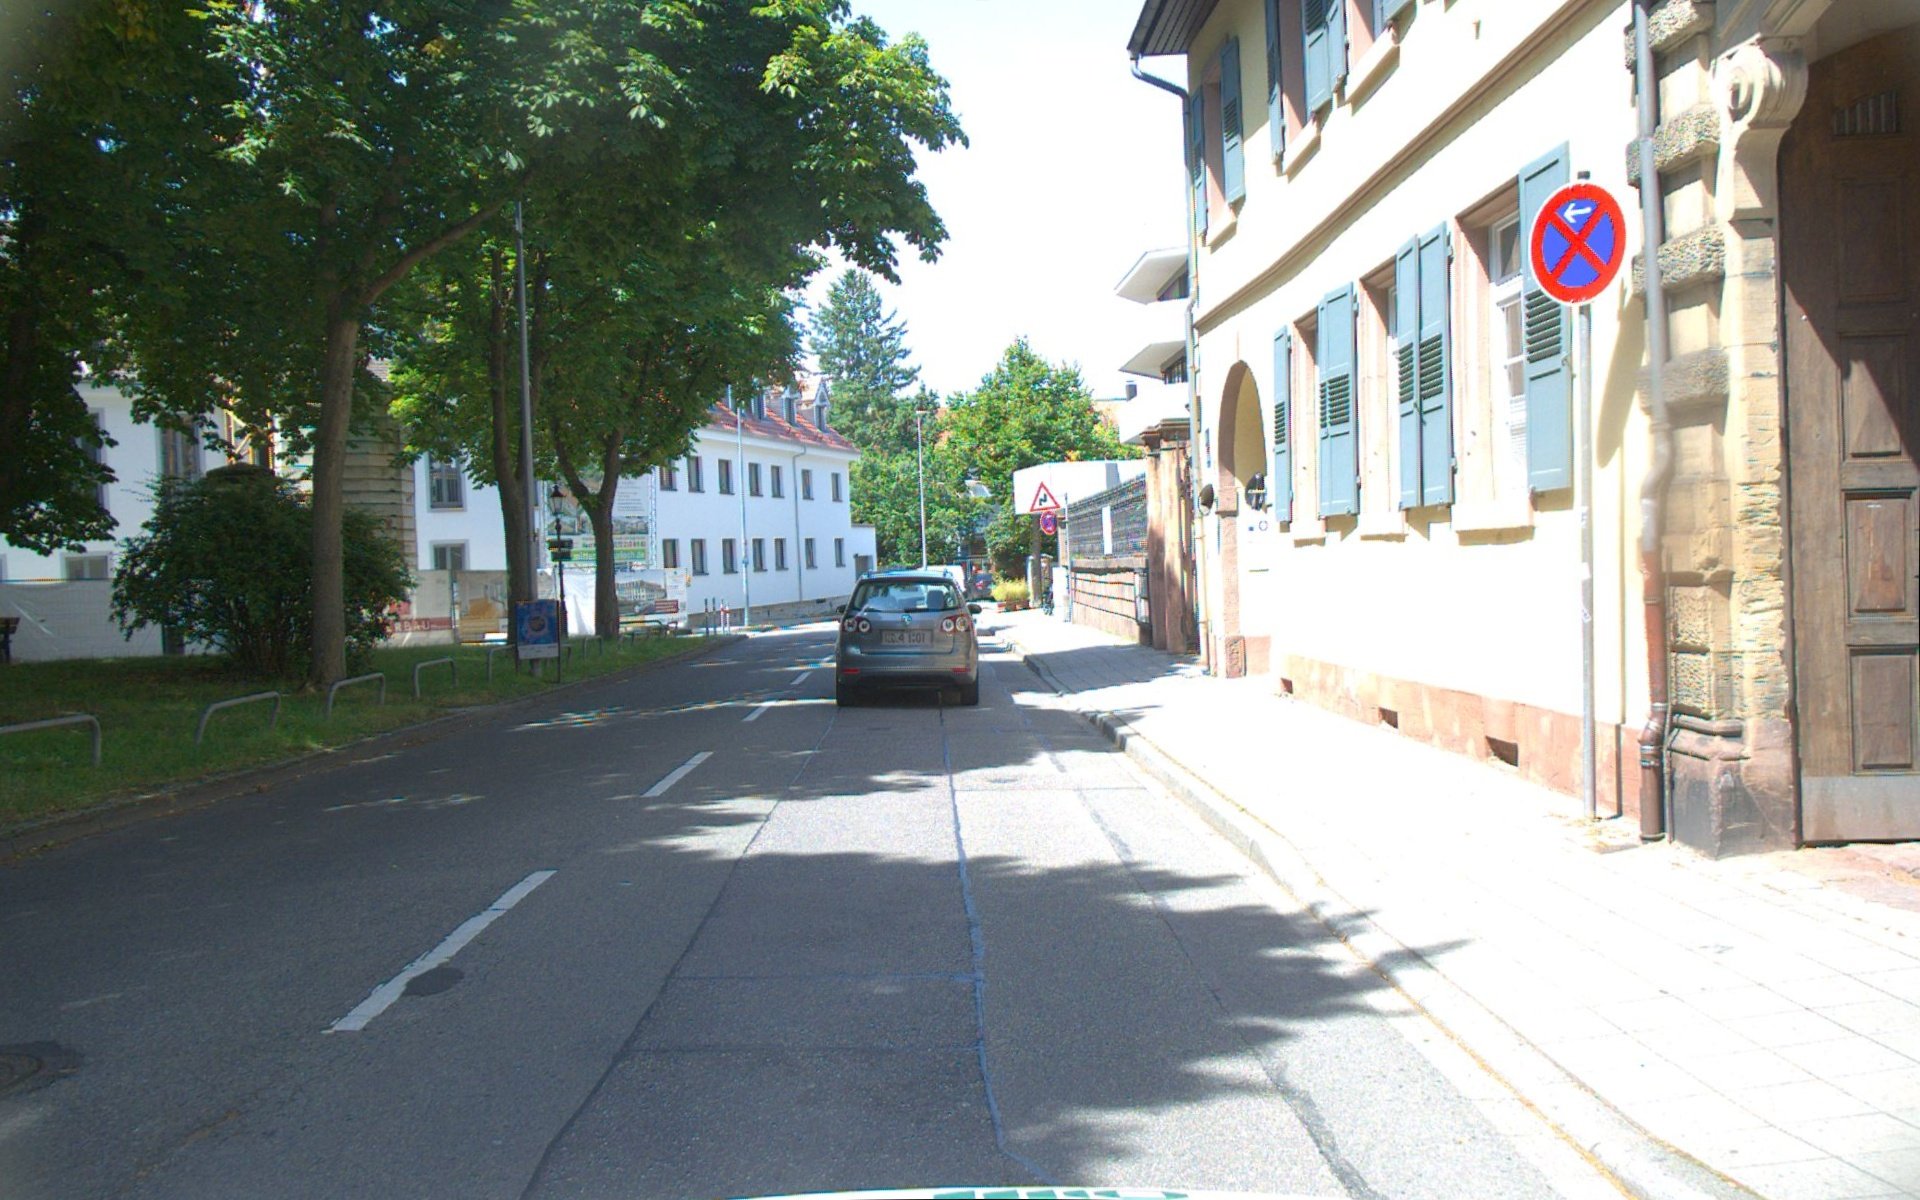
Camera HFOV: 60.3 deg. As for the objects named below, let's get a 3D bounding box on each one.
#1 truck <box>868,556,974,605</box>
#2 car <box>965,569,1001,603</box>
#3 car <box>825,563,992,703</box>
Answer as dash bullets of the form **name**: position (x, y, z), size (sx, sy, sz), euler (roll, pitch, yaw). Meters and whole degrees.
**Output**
- **truck**: position (-1.881, -0.916, 77.966), size (4.704, 2.048, 2.142), euler (-3, 1, -8)
- **car**: position (1.137, -0.735, 82.796), size (1.614, 1.601, 3.639), euler (-2, 1, -1)
- **car**: position (-0.621, 0.336, 20.898), size (1.865, 1.560, 4.243), euler (-1, 1, -1)
